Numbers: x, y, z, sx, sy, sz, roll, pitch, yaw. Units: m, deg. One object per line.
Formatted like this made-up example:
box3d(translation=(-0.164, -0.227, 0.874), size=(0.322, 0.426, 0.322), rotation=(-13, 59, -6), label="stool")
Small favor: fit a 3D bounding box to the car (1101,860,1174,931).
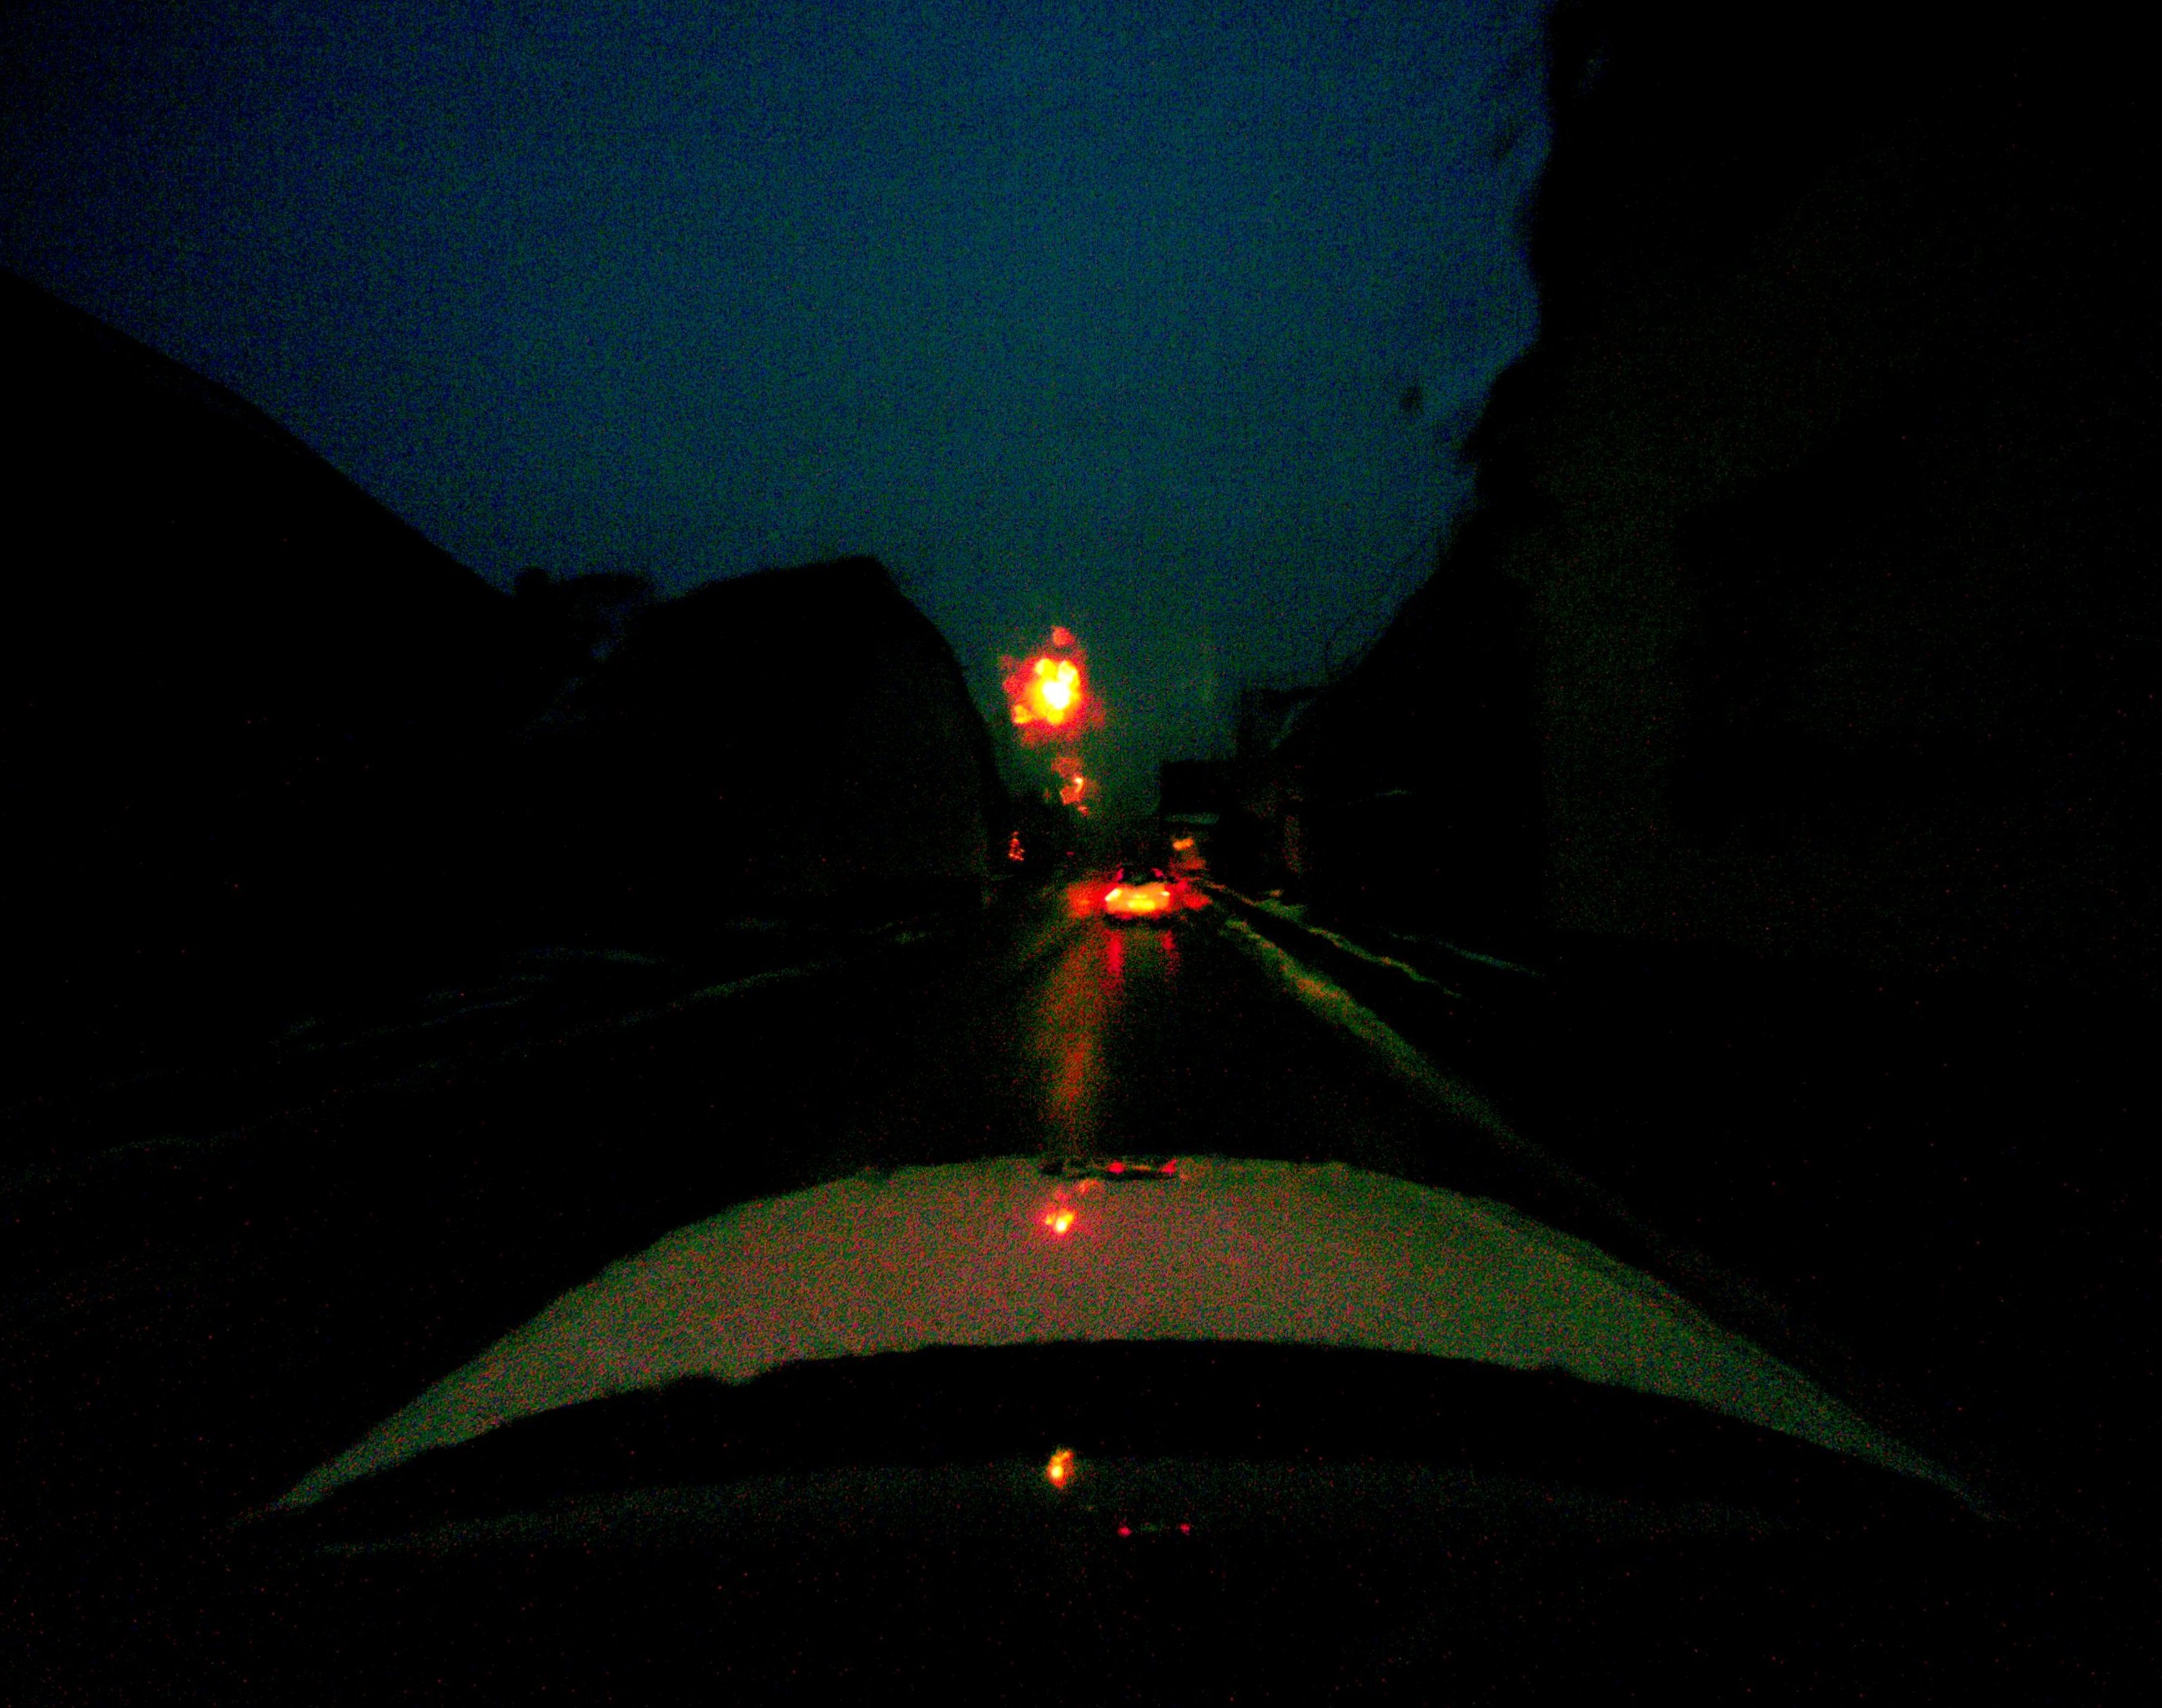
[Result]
box3d(translation=(1.436, 0.971, 20.145), size=(1.637, 1.596, 3.704), rotation=(-1, -1, 5), label="car")
